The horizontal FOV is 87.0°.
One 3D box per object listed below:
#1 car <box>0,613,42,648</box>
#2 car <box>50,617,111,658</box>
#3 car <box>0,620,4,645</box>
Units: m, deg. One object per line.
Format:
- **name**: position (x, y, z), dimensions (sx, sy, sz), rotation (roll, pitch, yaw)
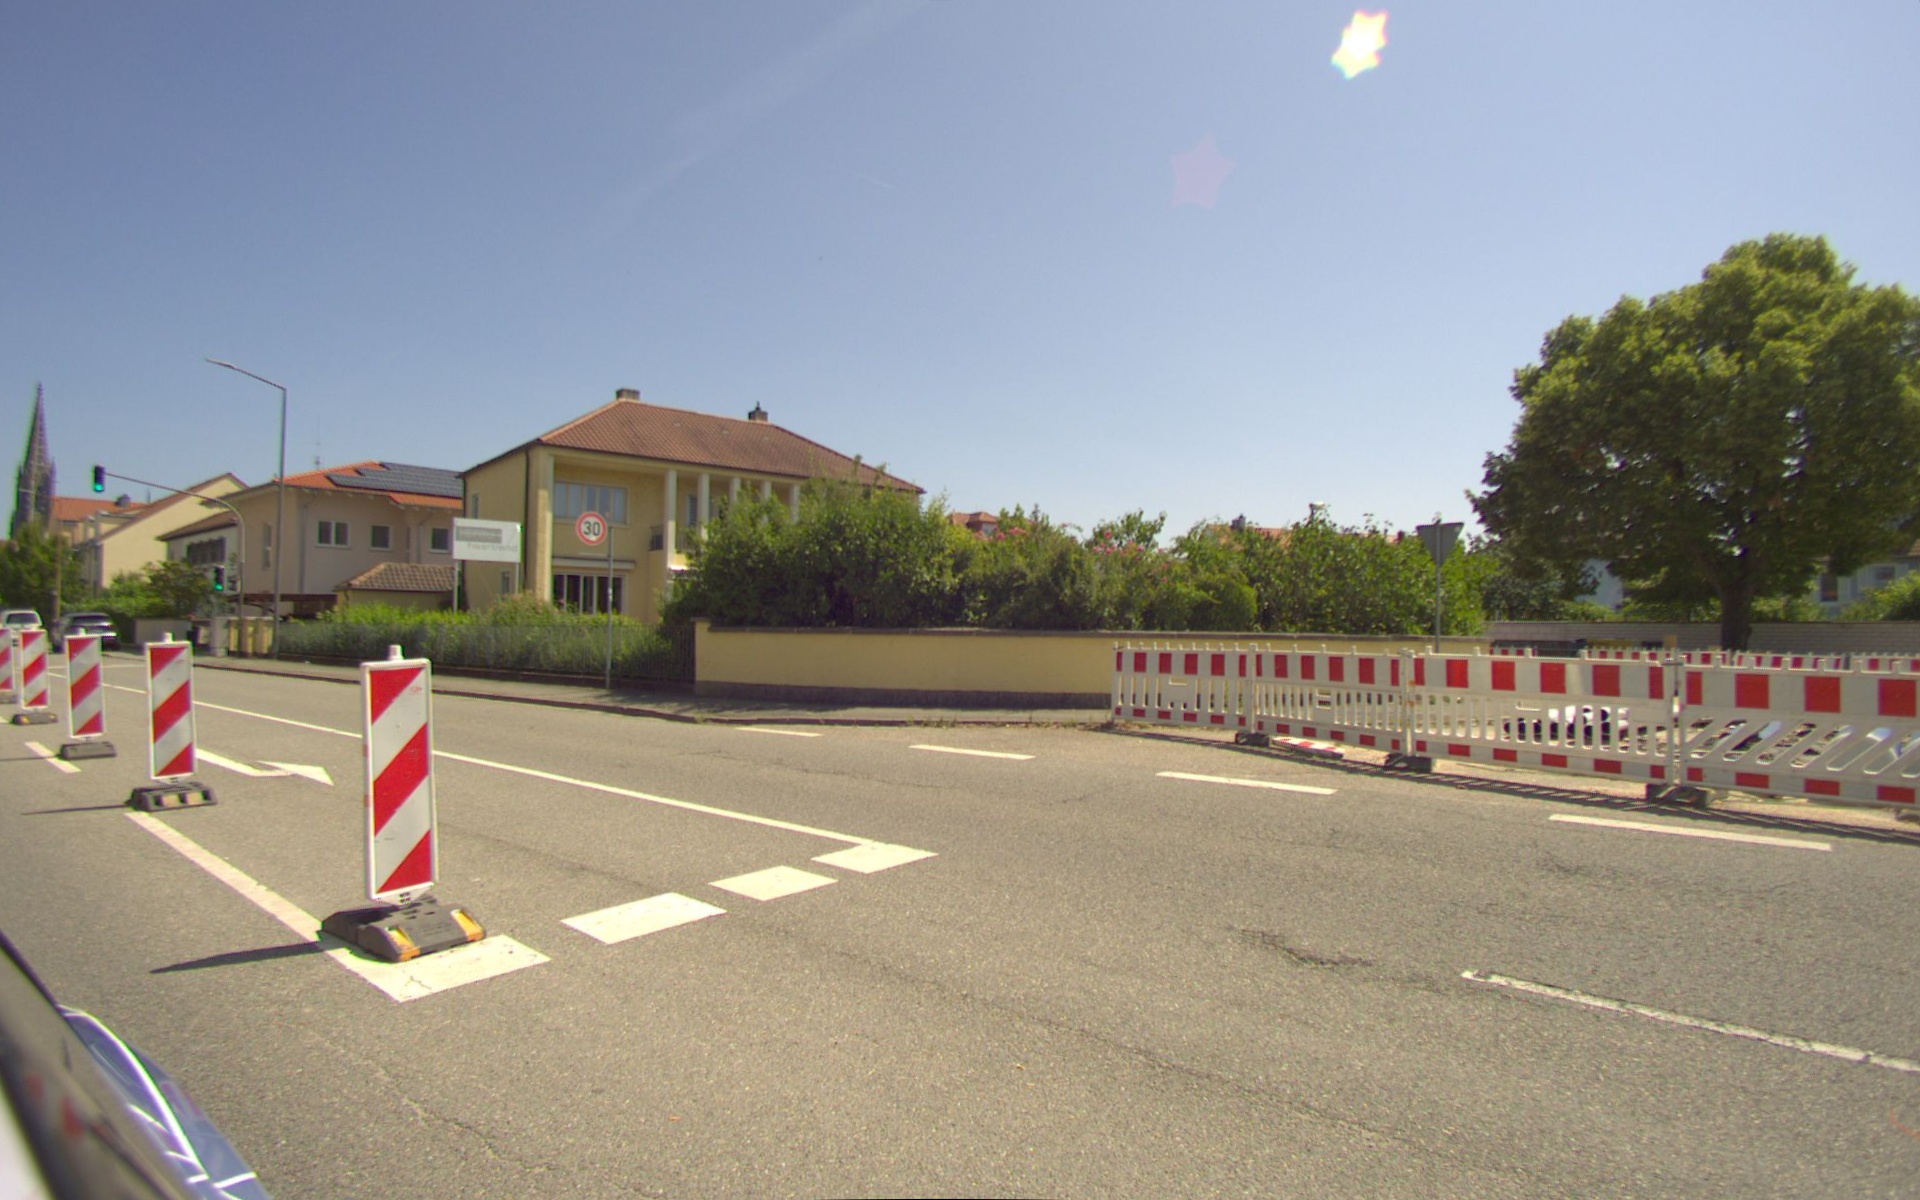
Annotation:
- **car**: position (-51.173, 1.656, 54.763), dimensions (3.887, 1.800, 1.696), rotation (-1, -3, 41)
- **car**: position (-36.166, 1.531, 41.596), dimensions (3.319, 1.589, 1.372), rotation (-1, -3, 41)
- **car**: position (-64.499, 2.107, 66.805), dimensions (3.512, 1.617, 1.603), rotation (-1, -3, 41)
